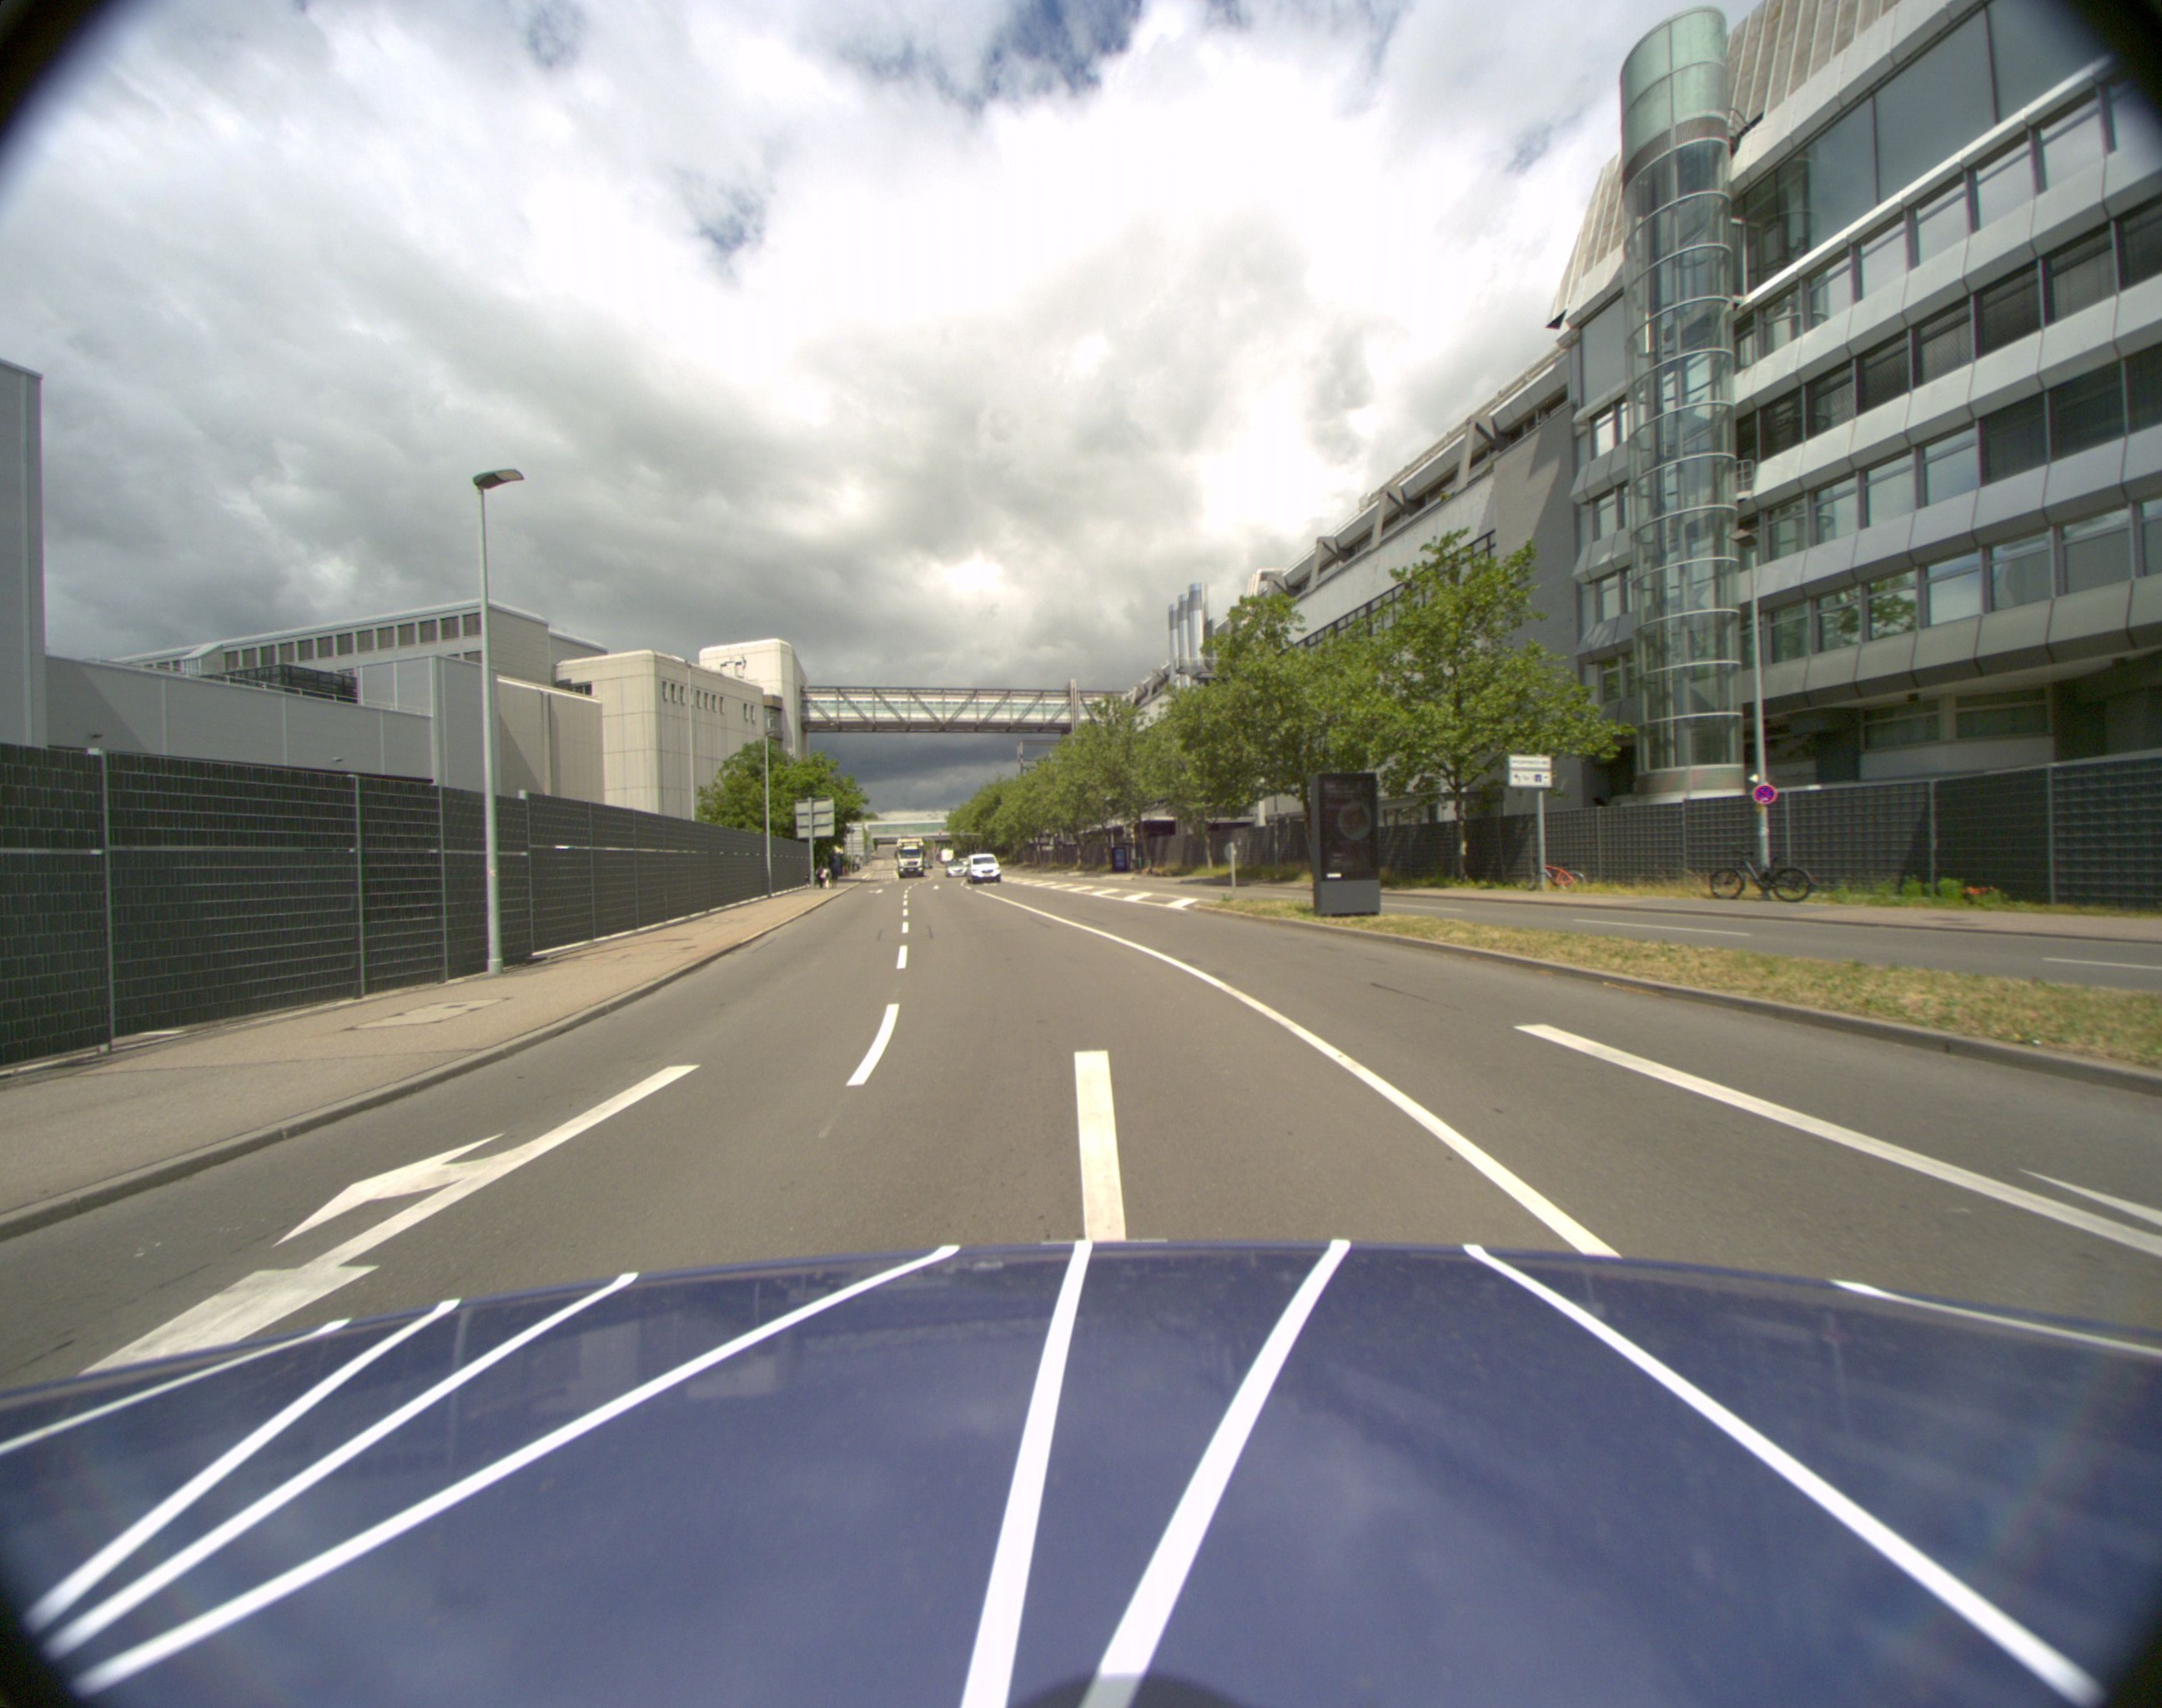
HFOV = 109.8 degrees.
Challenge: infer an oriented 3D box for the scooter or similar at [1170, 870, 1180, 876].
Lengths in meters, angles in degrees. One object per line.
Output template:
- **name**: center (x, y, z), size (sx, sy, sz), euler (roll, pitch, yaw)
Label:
- **scooter or similar**: center (6.402, 1.302, 51.897), size (0.538, 0.321, 1.273), euler (-3, 0, 12)

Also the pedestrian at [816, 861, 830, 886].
- **pedestrian**: center (-17.528, 1.325, 51.655), size (0.797, 1.588, 0.730), euler (-3, 2, -16)

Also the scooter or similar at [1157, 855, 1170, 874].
- **scooter or similar**: center (5.694, 0.718, 52.553), size (0.524, 1.227, 1.317), euler (-5, 1, -7)

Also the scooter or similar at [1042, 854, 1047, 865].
- **scooter or similar**: center (-4.553, 0.679, 94.864), size (0.304, 1.395, 1.234), euler (-3, 2, -13)

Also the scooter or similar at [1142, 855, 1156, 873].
- **scooter or similar**: center (4.981, 0.740, 56.067), size (0.525, 1.227, 1.316), euler (-5, 1, -14)

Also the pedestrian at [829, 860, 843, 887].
- **pedestrian**: center (-16.339, 1.297, 50.648), size (0.797, 1.711, 0.730), euler (-3, 2, -17)

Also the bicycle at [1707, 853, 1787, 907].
- **bicycle**: center (14.880, 0.552, 17.018), size (0.297, 1.125, 1.483), euler (-3, 1, -10)

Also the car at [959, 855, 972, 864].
- **car**: center (-18.424, 0.869, 121.141), size (1.697, 1.406, 4.140), euler (0, 0, -13)

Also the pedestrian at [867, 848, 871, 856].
- **pedestrian**: center (-44.453, -0.403, 159.157), size (0.730, 1.756, 1.014), euler (-3, 2, -13)

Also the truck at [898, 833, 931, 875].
- **truck**: center (-17.078, -0.086, 77.494), size (2.716, 3.863, 10.726), euler (-3, 1, -14)

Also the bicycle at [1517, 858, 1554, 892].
- **bicycle**: center (13.979, 0.633, 23.405), size (0.297, 1.000, 1.251), euler (-3, 1, -3)

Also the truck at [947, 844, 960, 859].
- **truck**: center (-27.701, -0.643, 164.512), size (2.460, 3.111, 7.235), euler (-3, 1, -10)

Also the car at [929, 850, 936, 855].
- **car**: center (-42.566, -0.419, 217.819), size (1.564, 1.496, 3.607), euler (0, 0, -16)

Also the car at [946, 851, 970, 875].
- **car**: center (-11.249, 0.757, 69.313), size (1.873, 1.944, 4.705), euler (-4, 2, -12)

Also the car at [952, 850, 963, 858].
- **car**: center (-23.304, 0.000, 143.006), size (1.746, 1.571, 4.262), euler (0, 0, -13)

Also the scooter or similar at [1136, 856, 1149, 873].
- **scooter or similar**: center (4.668, 0.775, 57.560), size (0.525, 1.227, 1.316), euler (-5, 1, -14)

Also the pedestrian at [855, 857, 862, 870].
- **pedestrian**: center (-28.964, 1.223, 98.791), size (0.812, 1.635, 0.996), euler (-1, 1, -15)

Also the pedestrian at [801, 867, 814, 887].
- **pedestrian**: center (-17.488, 1.477, 48.524), size (0.599, 1.200, 0.716), euler (-3, 2, -10)

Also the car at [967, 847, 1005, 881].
- **car**: center (-6.145, 0.683, 48.686), size (1.827, 2.001, 4.387), euler (-2, -1, -14)

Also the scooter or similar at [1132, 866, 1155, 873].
- **scooter or similar**: center (4.884, 1.176, 59.139), size (1.361, 0.378, 1.492), euler (-5, 0, 22)

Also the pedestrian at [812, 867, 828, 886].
- **pedestrian**: center (-16.763, 1.472, 48.879), size (0.760, 1.142, 0.970), euler (-3, 2, -10)

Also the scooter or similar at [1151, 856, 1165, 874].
- **scooter or similar**: center (5.451, 0.766, 53.913), size (0.524, 1.227, 1.316), euler (-5, 1, -11)

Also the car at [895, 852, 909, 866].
- **car**: center (-28.311, 0.801, 120.319), size (1.873, 1.945, 4.705), euler (-4, 2, -12)

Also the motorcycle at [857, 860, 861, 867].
- **motorcycle**: center (-33.829, 1.483, 115.809), size (0.593, 1.061, 2.034), euler (-1, 0, -13)

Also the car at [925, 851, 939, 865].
- **car**: center (-23.625, 0.586, 120.387), size (1.873, 1.945, 4.705), euler (-4, 2, -12)
